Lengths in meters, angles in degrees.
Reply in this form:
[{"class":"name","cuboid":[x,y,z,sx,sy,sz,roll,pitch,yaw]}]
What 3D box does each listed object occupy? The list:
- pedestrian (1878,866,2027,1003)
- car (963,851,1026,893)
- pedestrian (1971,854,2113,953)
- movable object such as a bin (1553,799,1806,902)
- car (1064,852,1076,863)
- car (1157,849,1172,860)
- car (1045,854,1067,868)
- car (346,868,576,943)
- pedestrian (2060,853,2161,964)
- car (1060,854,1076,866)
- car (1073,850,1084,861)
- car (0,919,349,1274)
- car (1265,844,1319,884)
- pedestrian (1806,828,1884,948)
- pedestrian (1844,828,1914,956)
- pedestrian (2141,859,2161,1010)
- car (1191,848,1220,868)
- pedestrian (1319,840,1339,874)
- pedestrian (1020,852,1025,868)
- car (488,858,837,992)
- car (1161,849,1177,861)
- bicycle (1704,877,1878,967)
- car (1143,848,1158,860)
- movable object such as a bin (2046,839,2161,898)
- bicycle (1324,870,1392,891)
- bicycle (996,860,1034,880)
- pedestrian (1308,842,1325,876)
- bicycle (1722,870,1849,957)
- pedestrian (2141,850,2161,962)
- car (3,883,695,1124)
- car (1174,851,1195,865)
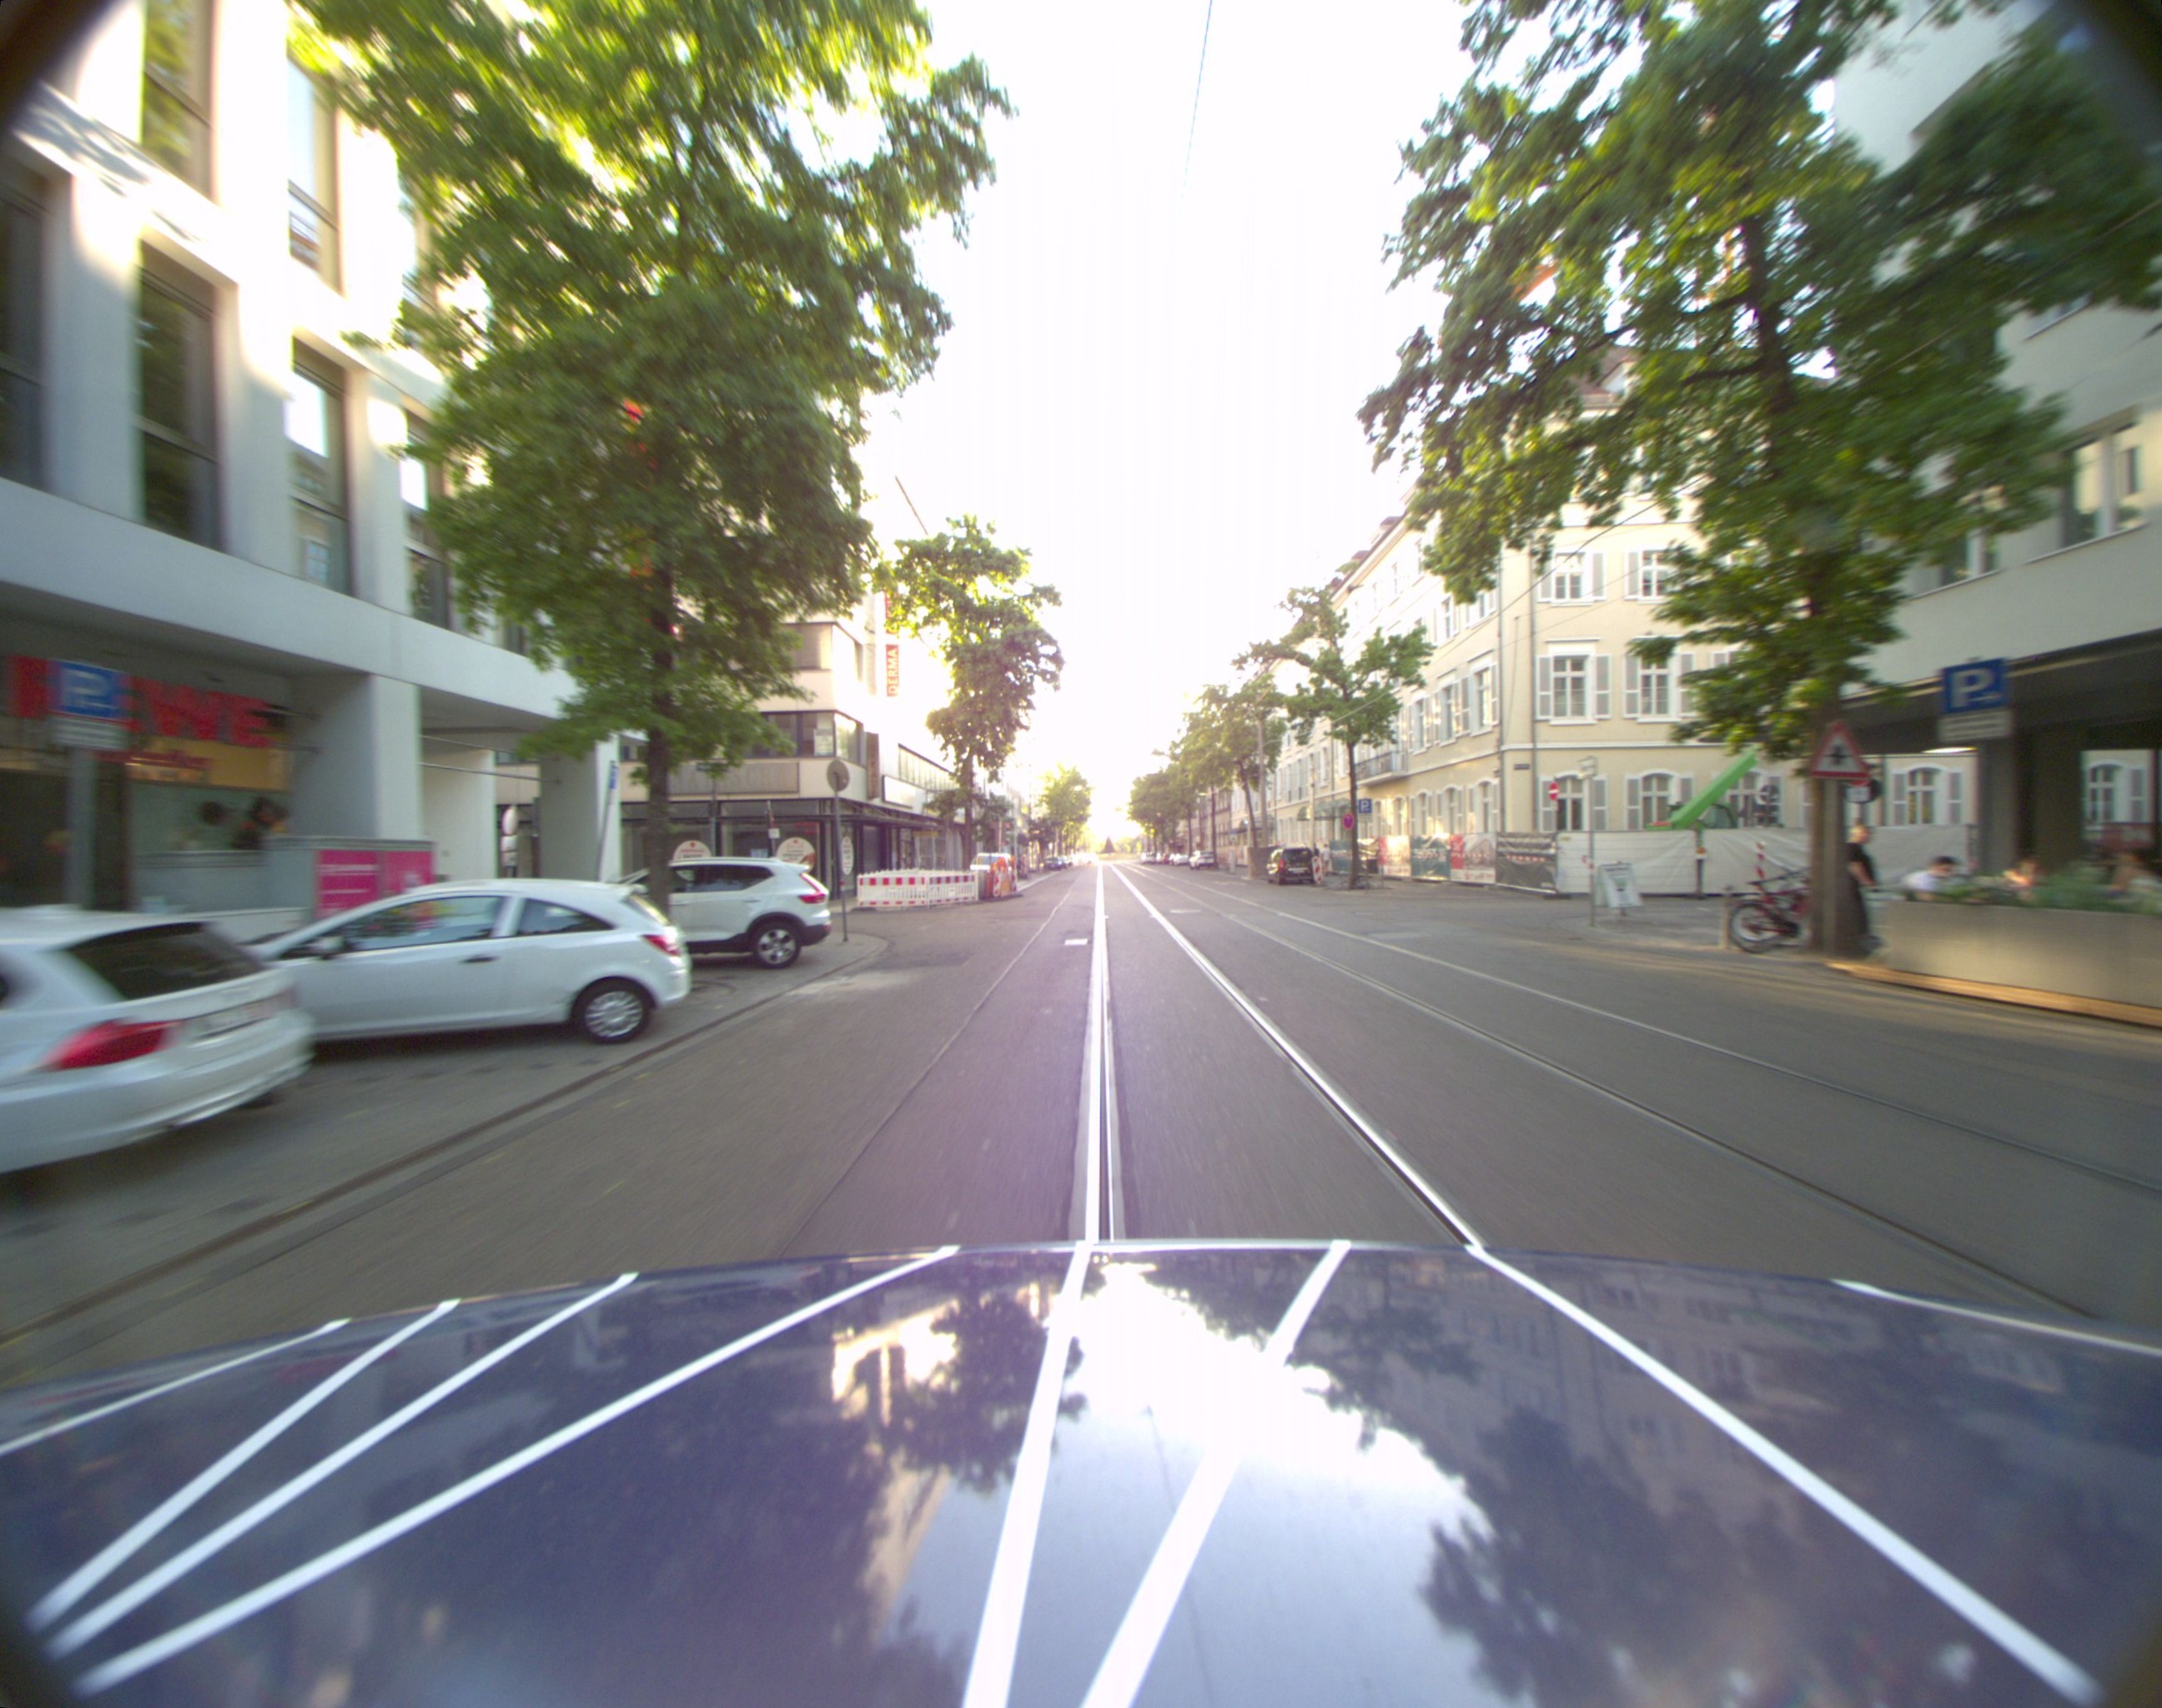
[{"class":"pedestrian","cuboid":[9.369,0.839,8.203,0.694,1.369,0.793,-2,1,4]},{"class":"car","cuboid":[-3.786,0.754,34.240,1.998,1.761,4.671,1,0,4]},{"class":"pedestrian","cuboid":[13.588,0.675,10.783,0.887,1.312,0.882,-2,1,5]},{"class":"movable object such as a bin","cuboid":[17.828,-0.121,22.918,5.561,2.856,2.643,-1,1,-1]},{"class":"car","cuboid":[-1.633,0.496,111.465,1.686,1.471,3.846,-1,0,0]},{"class":"car","cuboid":[12.561,0.101,113.912,1.998,1.540,4.106,-1,0,3]},{"class":"car","cuboid":[-2.608,0.691,79.133,2.002,1.354,4.105,1,0,1]},{"class":"car","cuboid":[-15.166,1.229,18.749,4.147,1.603,1.904,-1,1,4]},{"class":"pedestrian","cuboid":[13.397,0.666,9.619,0.849,1.312,0.882,-2,1,6]},{"class":"car","cuboid":[-1.462,0.720,89.285,1.738,1.311,4.105,1,0,1]},{"class":"car","cuboid":[-0.432,0.245,127.221,1.738,1.727,4.105,-1,0,1]},{"class":"car","cuboid":[-6.764,1.117,3.607,4.355,1.414,1.825,1,0,-21]},{"class":"car","cuboid":[10.255,0.475,37.224,1.772,1.754,3.879,-4,0,5]},{"class":"pedestrian","cuboid":[11.557,0.484,11.494,0.782,1.731,0.640,-3,2,-29]},{"class":"pedestrian","cuboid":[11.280,0.507,10.734,0.783,1.731,0.640,-3,2,-40]},{"class":"pedestrian","cuboid":[10.057,0.722,6.487,0.717,1.354,0.924,-2,1,4]},{"class":"car","cuboid":[11.323,0.338,69.322,1.998,1.727,4.105,-1,0,1]},{"class":"pedestrian","cuboid":[13.869,0.155,42.454,0.759,1.874,0.880,-3,1,2]},{"class":"pedestrian","cuboid":[-5.771,0.618,74.898,0.477,1.547,0.748,0,2,2]},{"class":"car","cuboid":[-6.032,0.953,11.510,4.278,1.662,1.948,1,1,-23]},{"class":"car","cuboid":[12.541,0.125,107.914,1.998,1.567,4.106,-1,0,3]},{"class":"bicycle","cuboid":[9.861,0.933,10.592,1.865,1.132,0.626,-2,2,-1]},{"class":"car","cuboid":[10.051,0.017,109.666,1.998,1.727,4.106,-1,0,3]},{"class":"movable object such as a bin","cuboid":[33.896,0.373,22.342,7.288,1.655,2.899,0,1,0]},{"class":"bicycle","cuboid":[10.563,1.002,29.082,2.076,0.702,1.330,-2,0,-5]},{"class":"bicycle","cuboid":[-4.019,0.962,46.069,2.163,1.152,0.761,2,2,8]},{"class":"pedestrian","cuboid":[13.113,0.265,42.337,0.679,1.874,0.769,-3,1,2]},{"class":"bicycle","cuboid":[10.625,0.850,11.451,1.869,1.132,0.779,-2,2,-26]},{"class":"pedestrian","cuboid":[13.175,0.614,8.671,0.887,1.312,0.882,-2,1,5]},{"class":"car","cuboid":[-5.756,1.061,6.782,4.074,1.493,1.791,1,1,-28]},{"class":"car","cuboid":[11.951,0.435,87.816,1.998,1.494,4.105,-1,0,1]}]
